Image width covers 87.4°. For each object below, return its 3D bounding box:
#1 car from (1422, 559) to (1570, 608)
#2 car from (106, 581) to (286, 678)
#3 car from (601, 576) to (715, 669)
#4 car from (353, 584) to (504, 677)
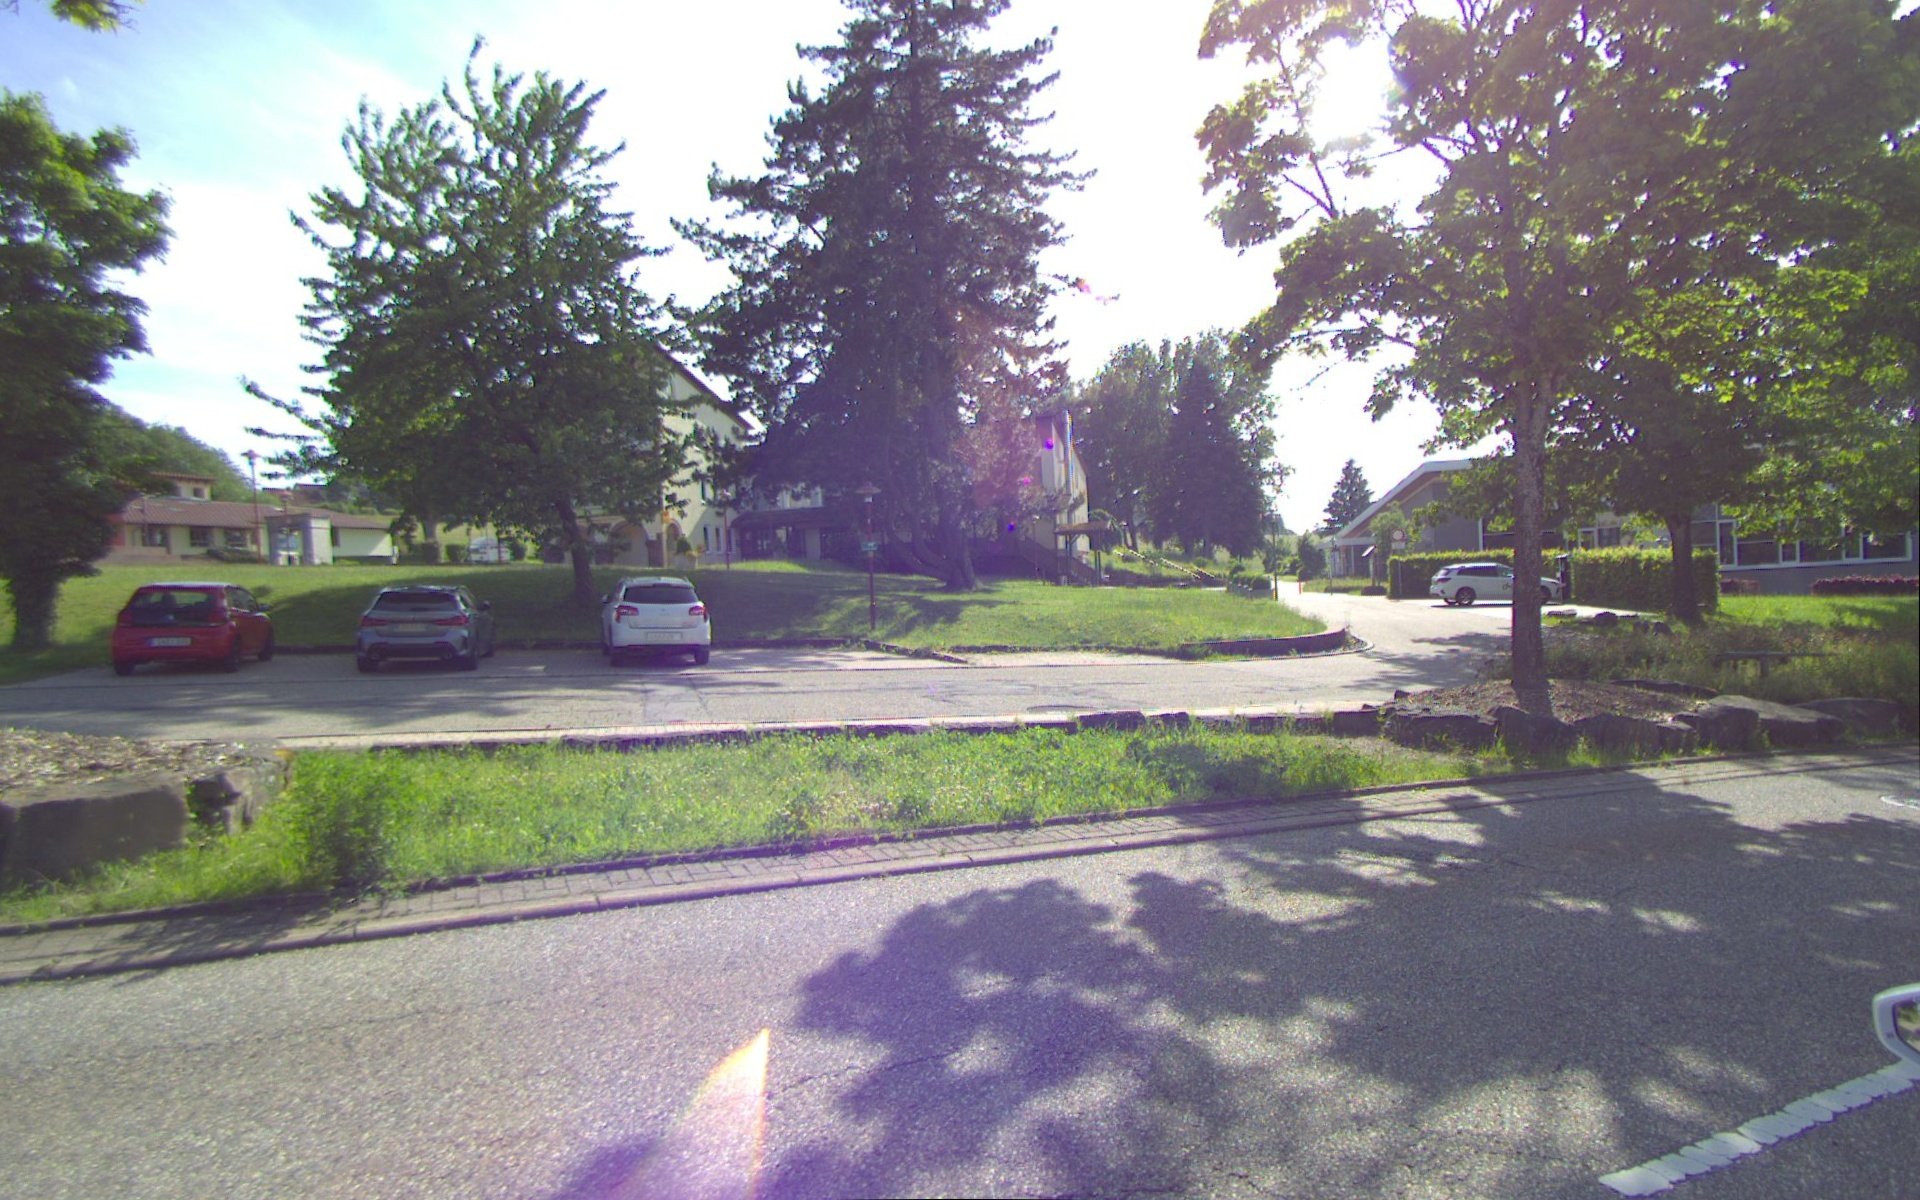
[{"bbox_3d":[20.512,-0.644,38.611,4.635,1.555,2.000,-2,4,10],"label":"car"},{"bbox_3d":[-12.996,0.434,17.302,1.751,1.490,3.189,1,1,-24],"label":"car"},{"bbox_3d":[-5.983,0.359,19.625,1.751,1.631,3.919,1,1,-23],"label":"car"},{"bbox_3d":[-9.363,0.468,17.979,1.748,1.453,3.699,1,1,-18],"label":"car"}]
